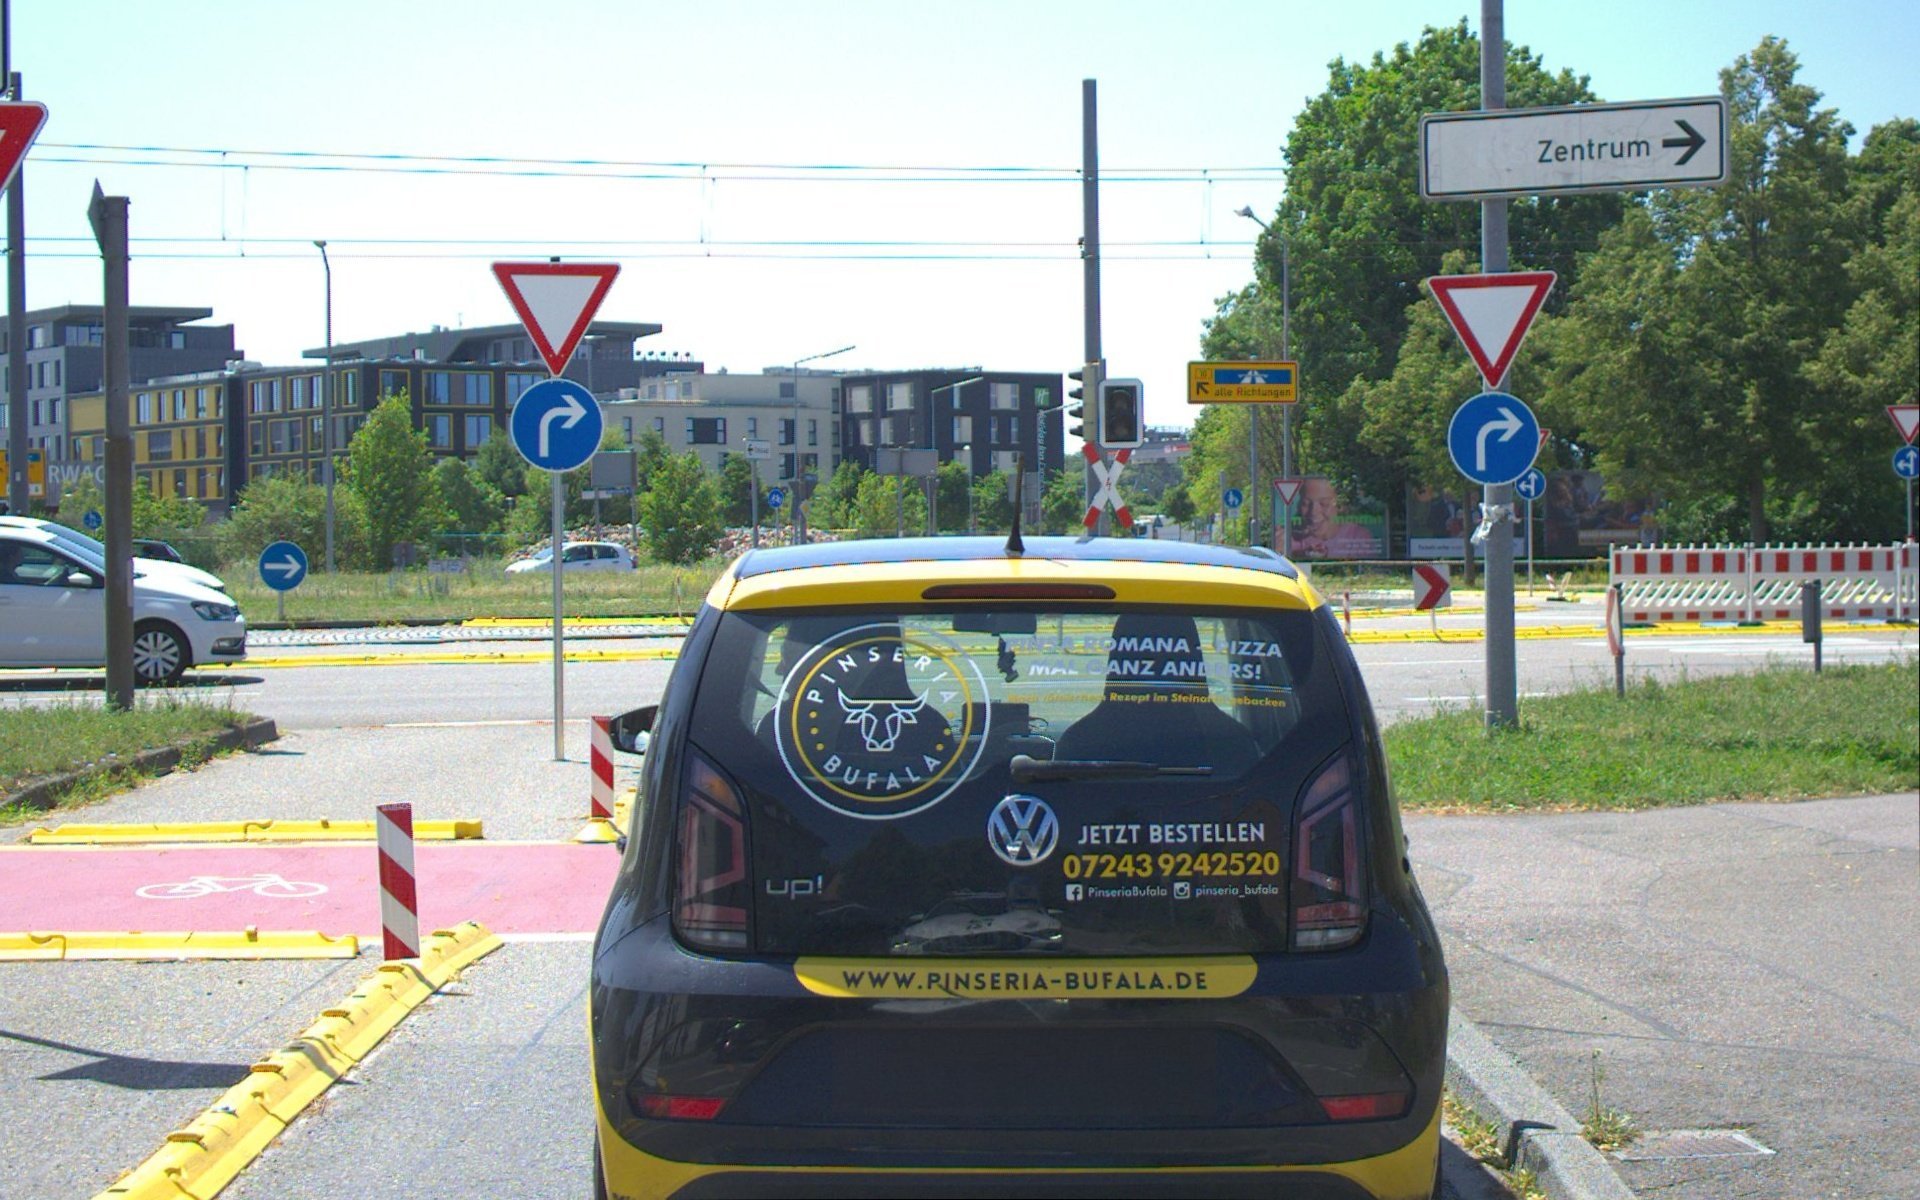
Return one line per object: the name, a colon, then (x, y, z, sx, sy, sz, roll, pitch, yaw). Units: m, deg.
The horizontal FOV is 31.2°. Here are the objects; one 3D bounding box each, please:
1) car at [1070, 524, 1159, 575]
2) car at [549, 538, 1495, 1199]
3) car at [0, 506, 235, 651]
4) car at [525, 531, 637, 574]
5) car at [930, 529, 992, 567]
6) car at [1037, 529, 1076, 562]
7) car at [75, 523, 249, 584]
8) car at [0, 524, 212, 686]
car: (4.289, -1.420, 96.053, 1.658, 1.368, 3.033, -1, 1, -15)
car: (0.079, 0.595, 7.915, 1.618, 1.446, 3.987, 1, 1, -1)
car: (-10.009, -0.231, 36.438, 4.351, 1.481, 2.000, -1, 1, -6)
car: (-10.543, -1.319, 95.706, 2.886, 1.151, 1.205, -1, 1, -35)
car: (0.060, -1.914, 125.803, 1.769, 1.340, 3.320, 0, 1, 9)
car: (4.092, -2.311, 146.199, 1.520, 1.389, 3.283, 0, 1, -1)
car: (-19.541, -1.158, 84.302, 4.034, 1.456, 1.730, -1, 1, -9)
car: (-9.134, 0.018, 31.653, 4.336, 1.444, 1.857, 0, 1, -11)
